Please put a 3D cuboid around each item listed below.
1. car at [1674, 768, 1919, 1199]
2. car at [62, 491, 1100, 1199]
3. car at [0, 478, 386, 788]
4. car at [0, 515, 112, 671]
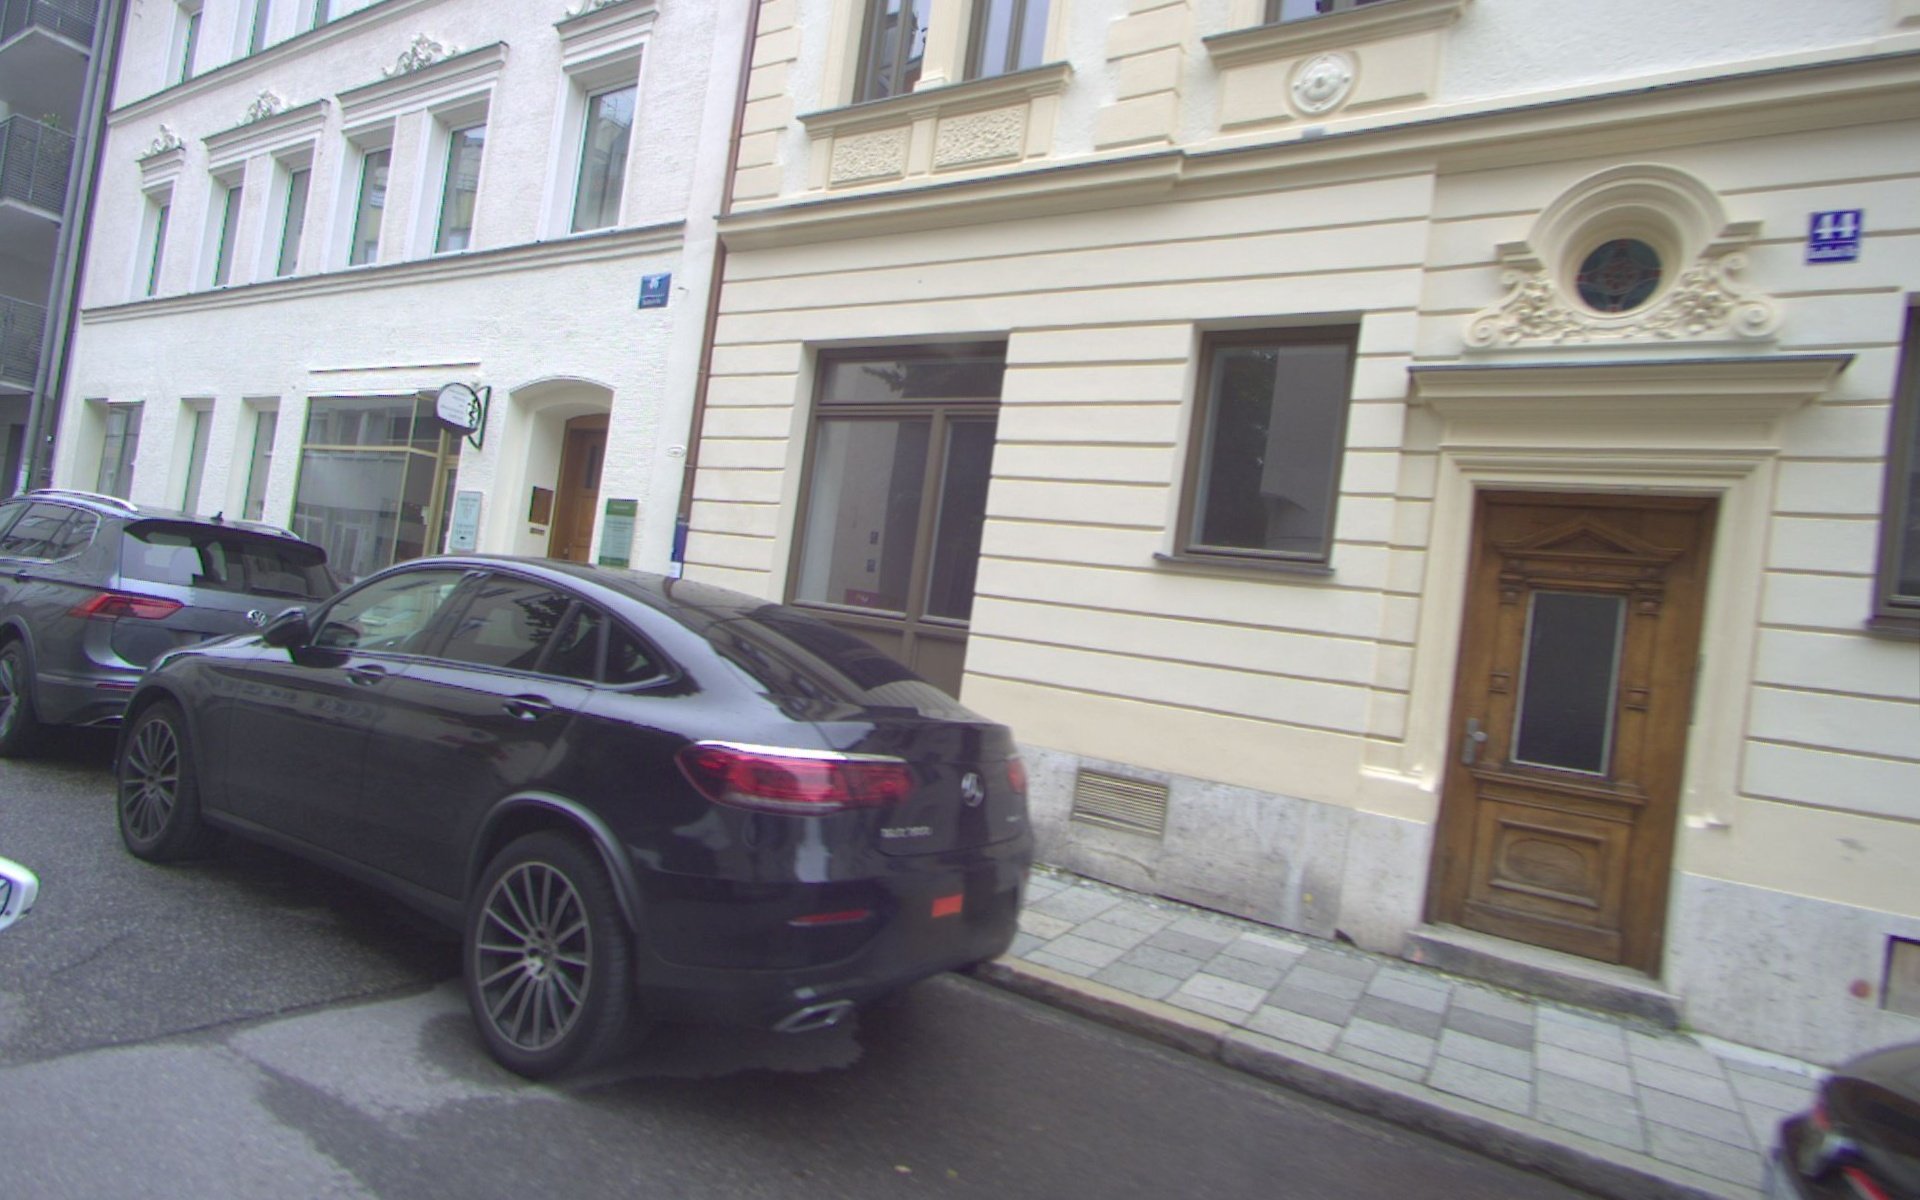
[{"bbox_3d":[3.558,1.310,1.359,3.998,1.408,1.680,6,-3,32],"label":"car"},{"bbox_3d":[-1.926,0.581,4.469,4.607,1.625,1.706,6,-3,32],"label":"car"},{"bbox_3d":[-6.395,0.093,7.425,4.438,1.679,1.680,6,-3,32],"label":"car"},{"bbox_3d":[-10.706,-0.280,10.241,4.277,1.401,1.803,6,-2,31],"label":"car"}]
